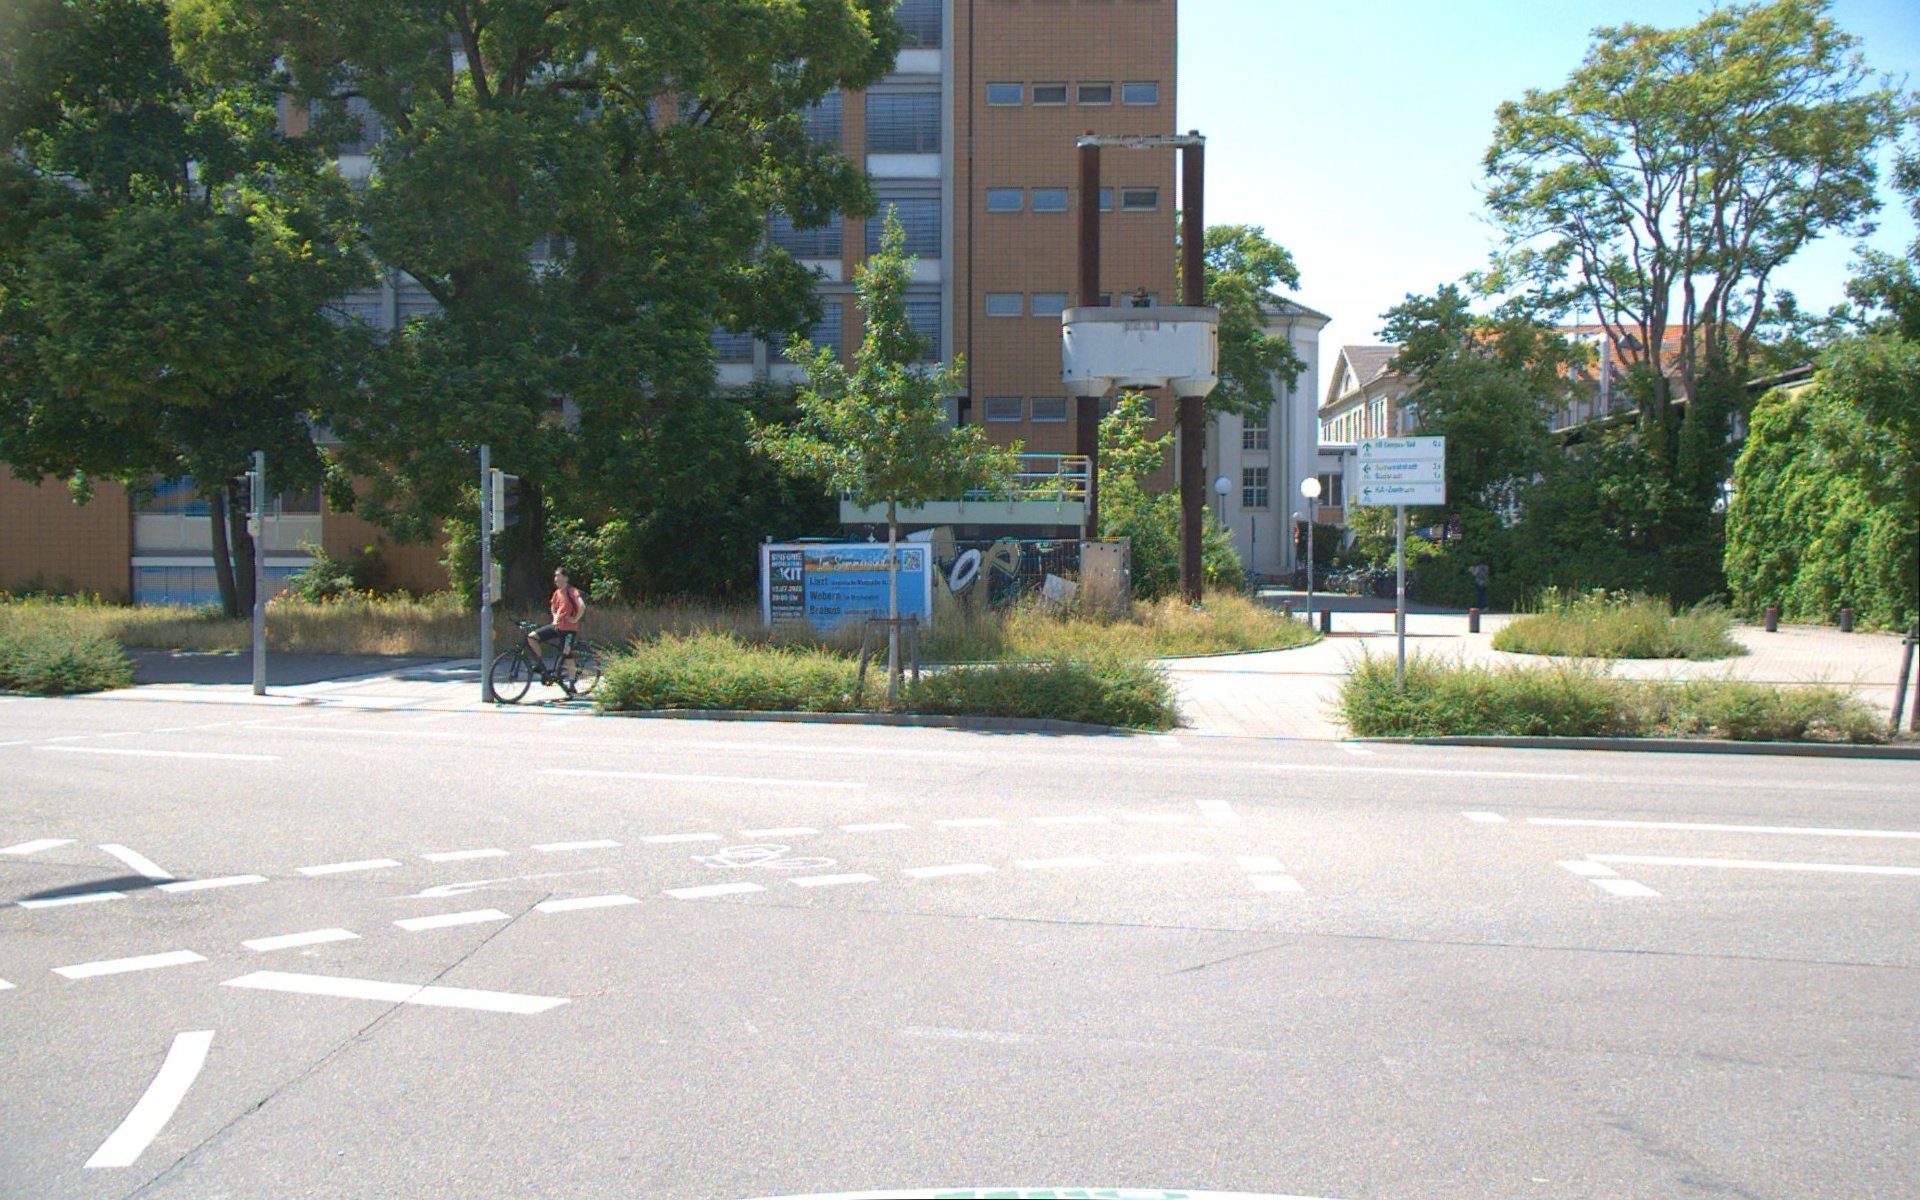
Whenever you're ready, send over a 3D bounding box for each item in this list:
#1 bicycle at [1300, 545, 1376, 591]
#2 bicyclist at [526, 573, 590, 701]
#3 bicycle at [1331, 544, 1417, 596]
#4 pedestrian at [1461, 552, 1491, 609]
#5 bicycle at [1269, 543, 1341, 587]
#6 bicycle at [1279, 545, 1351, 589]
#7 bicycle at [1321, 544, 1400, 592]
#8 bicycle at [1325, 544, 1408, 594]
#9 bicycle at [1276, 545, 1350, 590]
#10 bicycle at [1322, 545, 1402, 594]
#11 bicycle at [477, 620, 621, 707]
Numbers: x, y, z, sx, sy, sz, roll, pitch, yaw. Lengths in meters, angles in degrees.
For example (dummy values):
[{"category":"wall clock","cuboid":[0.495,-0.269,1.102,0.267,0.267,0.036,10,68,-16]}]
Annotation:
[{"category":"bicycle","cuboid":[17.943,-1.542,78.568,3.374,2.048,0.761,2,1,5]},{"category":"bicyclist","cuboid":[-5.650,0.509,23.254,0.542,1.745,0.698,3,3,44]},{"category":"bicycle","cuboid":[17.499,-1.257,69.933,3.374,2.048,0.761,2,1,5]},{"category":"pedestrian","cuboid":[15.750,-0.593,50.491,0.625,1.694,0.707,2,1,2]},{"category":"bicycle","cuboid":[17.299,-1.747,83.002,3.374,2.048,0.761,2,1,5]},{"category":"bicycle","cuboid":[17.521,-1.623,81.680,3.374,2.048,0.761,2,1,5]},{"category":"bicycle","cuboid":[18.544,-1.485,76.644,3.374,2.048,0.761,2,1,5]},{"category":"bicycle","cuboid":[17.779,-1.365,72.428,3.374,2.048,0.761,2,1,5]},{"category":"bicycle","cuboid":[17.200,-1.591,80.664,3.374,2.048,0.761,2,1,5]},{"category":"bicycle","cuboid":[18.080,-1.364,74.463,3.374,2.048,0.761,2,1,5]},{"category":"bicycle","cuboid":[-5.737,0.867,23.189,0.549,1.063,1.983,3,4,45]}]
